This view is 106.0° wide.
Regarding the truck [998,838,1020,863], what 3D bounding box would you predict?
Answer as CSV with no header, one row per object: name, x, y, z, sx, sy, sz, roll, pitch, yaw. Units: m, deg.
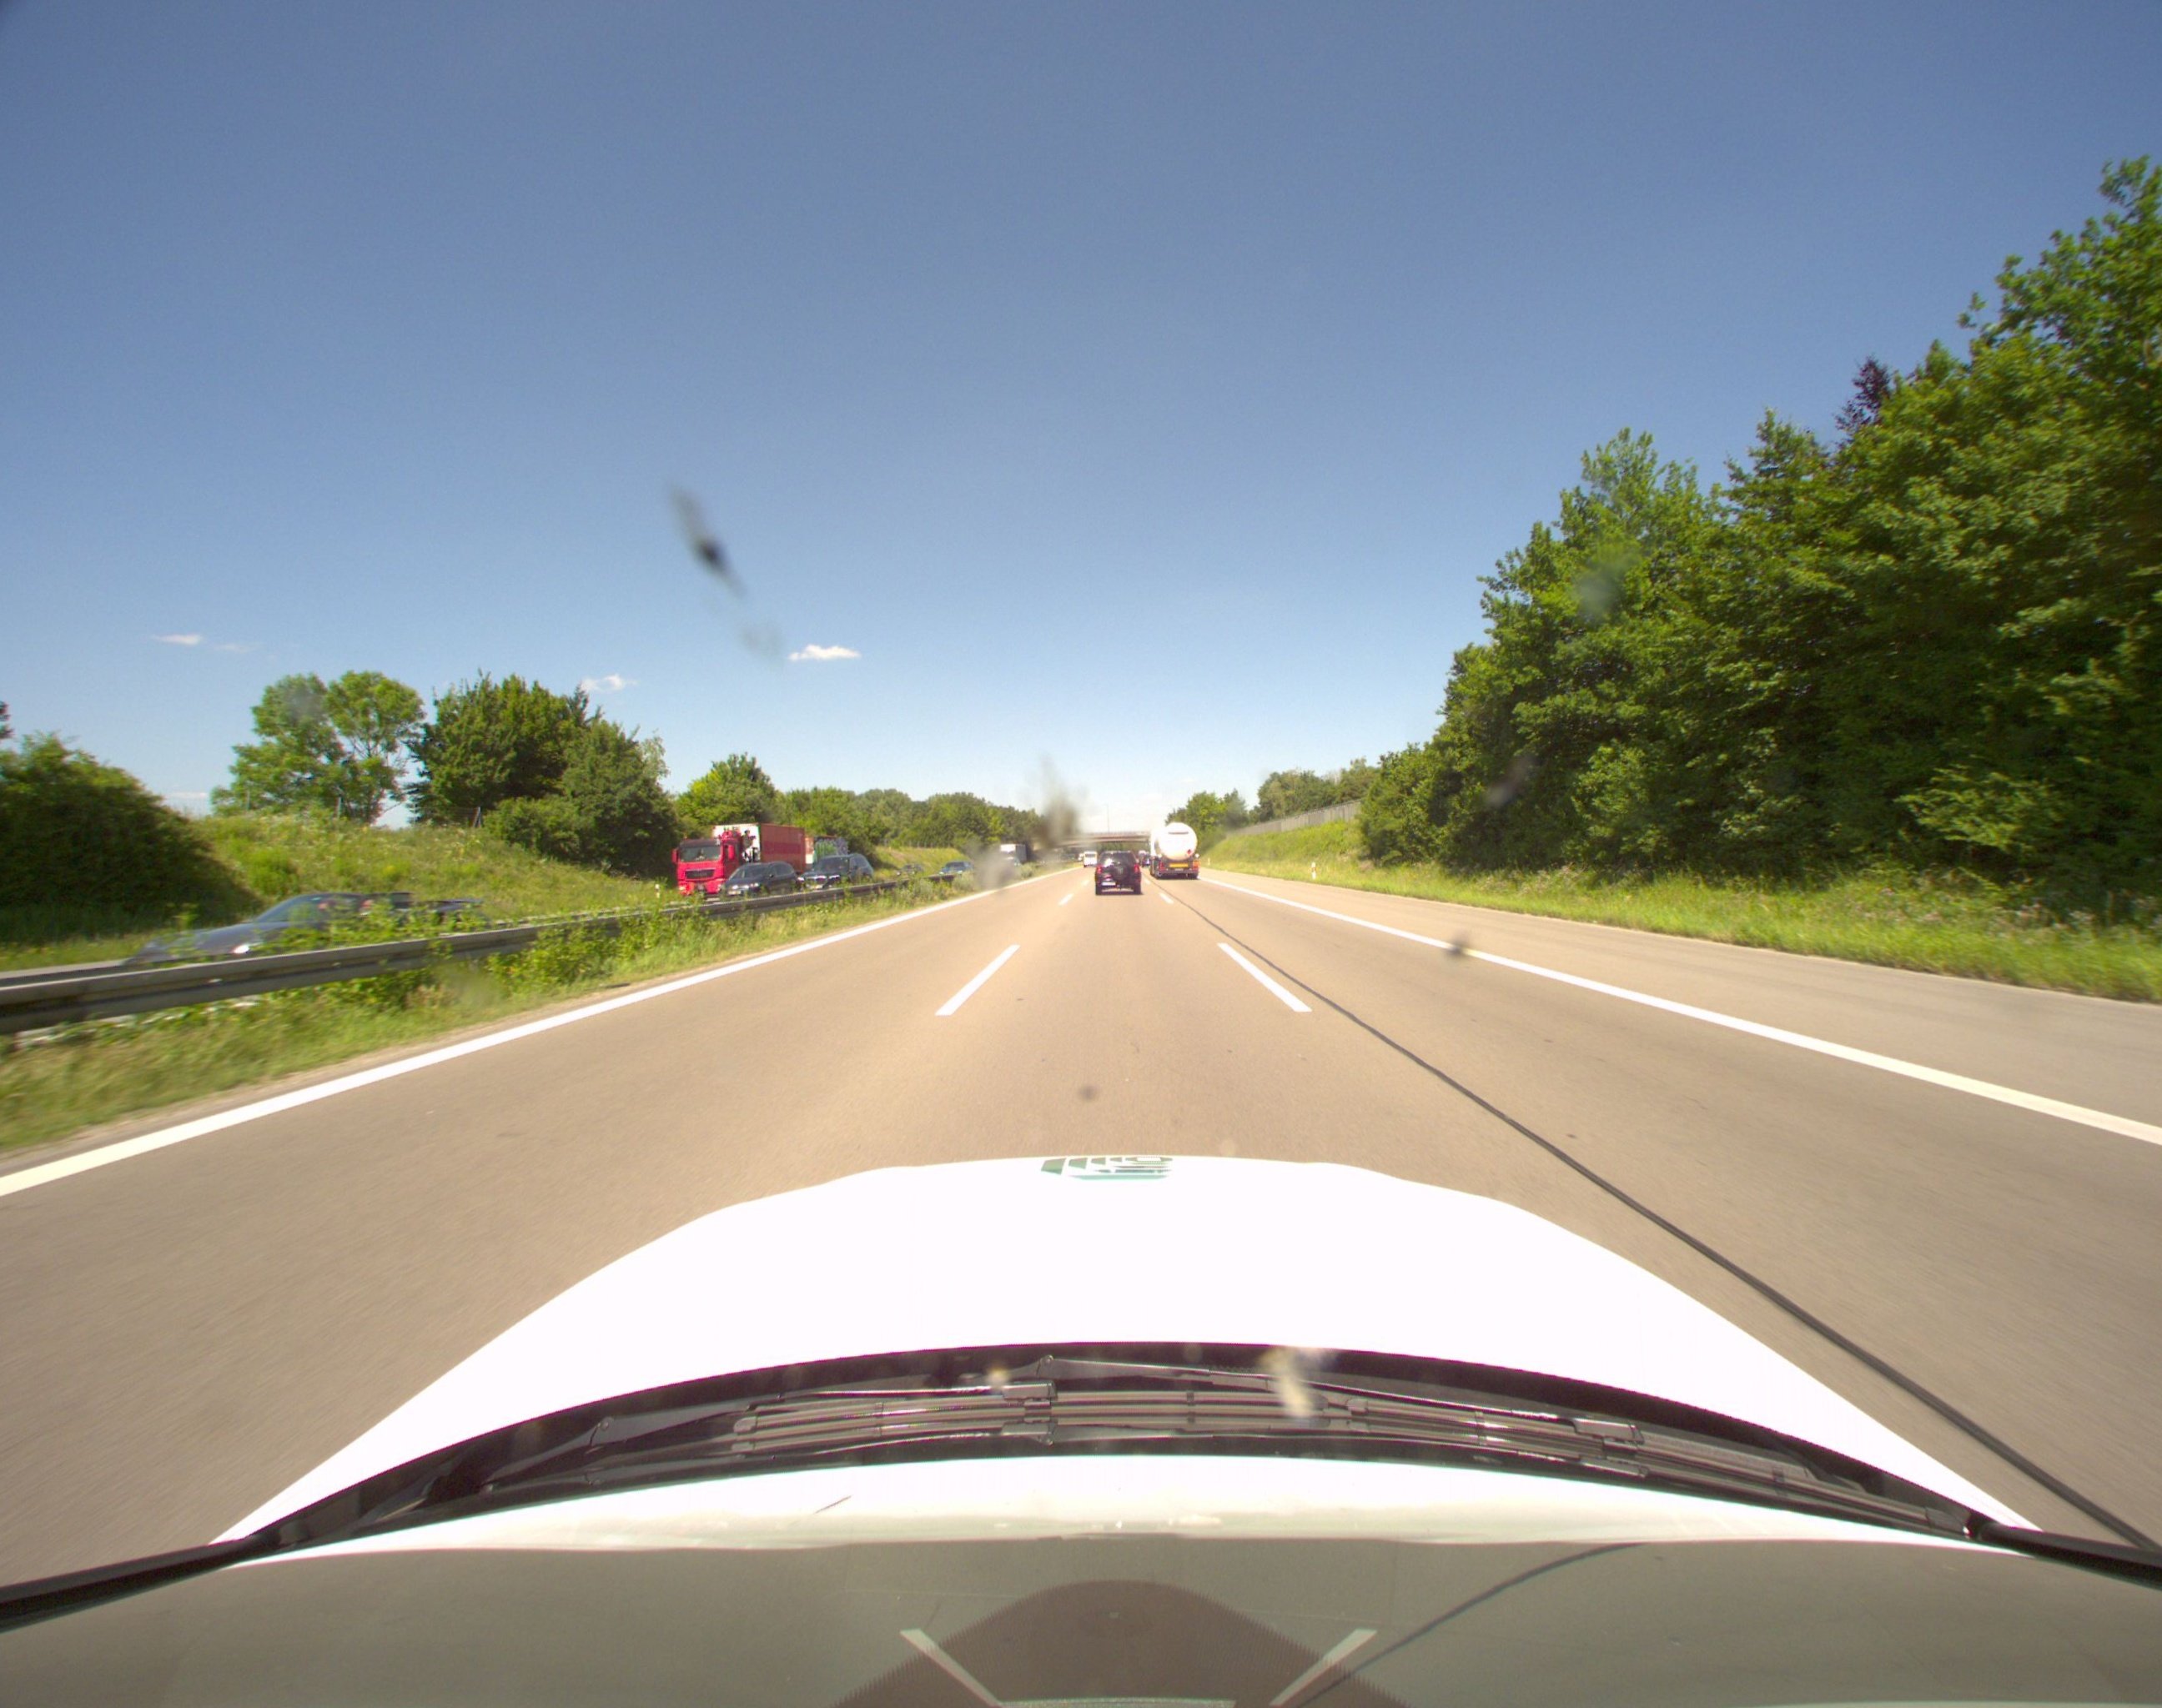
truck,-12.445,-0.600,140.961,2.662,4.078,6.080,-3,0,2

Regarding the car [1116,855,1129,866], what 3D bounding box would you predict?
car,6.353,1.079,125.632,1.834,1.611,4.005,-2,-1,5

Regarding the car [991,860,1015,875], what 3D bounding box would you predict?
car,-8.366,1.443,87.550,1.888,1.427,4.765,-4,0,2

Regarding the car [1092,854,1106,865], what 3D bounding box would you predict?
car,2.812,0.913,127.928,1.986,1.552,4.002,-2,-1,2

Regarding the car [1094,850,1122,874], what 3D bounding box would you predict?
car,2.093,0.601,63.440,1.986,1.706,4.337,-2,-1,1

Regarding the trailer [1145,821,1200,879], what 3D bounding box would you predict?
trailer,5.864,-0.218,53.805,2.638,3.390,11.155,-1,0,2

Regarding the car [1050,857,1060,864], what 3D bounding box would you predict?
car,-5.906,1.492,184.576,1.956,1.641,4.899,-2,0,3

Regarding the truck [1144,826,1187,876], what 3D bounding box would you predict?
truck,6.053,-0.198,58.973,2.628,3.375,6.490,-1,0,2

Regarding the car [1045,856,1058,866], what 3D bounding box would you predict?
car,-4.804,1.130,133.109,1.851,1.600,4.723,-2,0,2

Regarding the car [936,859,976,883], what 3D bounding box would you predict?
car,-8.923,1.209,58.446,1.825,1.565,4.959,-2,0,3

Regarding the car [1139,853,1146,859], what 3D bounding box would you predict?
car,17.209,0.520,229.364,1.805,1.746,4.002,-2,0,2

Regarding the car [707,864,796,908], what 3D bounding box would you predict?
car,-14.028,1.319,34.966,1.987,1.690,4.265,-2,0,1

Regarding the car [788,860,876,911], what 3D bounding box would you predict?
car,-10.181,1.231,33.739,1.987,1.865,4.899,-2,0,1

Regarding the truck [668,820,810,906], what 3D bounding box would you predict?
truck,-17.340,0.418,42.303,2.668,3.769,9.924,-3,0,2

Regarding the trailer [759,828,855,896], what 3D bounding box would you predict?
trailer,-17.000,0.452,51.248,2.668,3.769,8.411,-3,0,2

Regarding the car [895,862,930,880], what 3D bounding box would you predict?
car,-15.336,1.507,74.410,1.888,1.438,4.926,-4,0,2

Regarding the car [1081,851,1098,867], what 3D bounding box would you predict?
car,1.184,0.653,105.875,1.986,2.014,4.952,-2,-1,2

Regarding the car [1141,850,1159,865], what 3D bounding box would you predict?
car,8.309,0.485,98.565,1.985,1.684,4.003,-2,-1,3

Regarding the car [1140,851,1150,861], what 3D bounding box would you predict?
car,12.666,0.426,161.779,1.984,1.779,4.266,-2,0,4

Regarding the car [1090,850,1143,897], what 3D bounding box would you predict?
car,1.409,0.731,32.052,1.899,1.665,4.003,-2,0,3

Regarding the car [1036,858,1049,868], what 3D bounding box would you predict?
car,-7.622,1.800,159.925,1.985,1.779,4.265,-2,0,3

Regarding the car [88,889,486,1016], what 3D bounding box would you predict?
car,-11.180,1.293,11.980,1.661,1.317,4.123,-2,0,2
